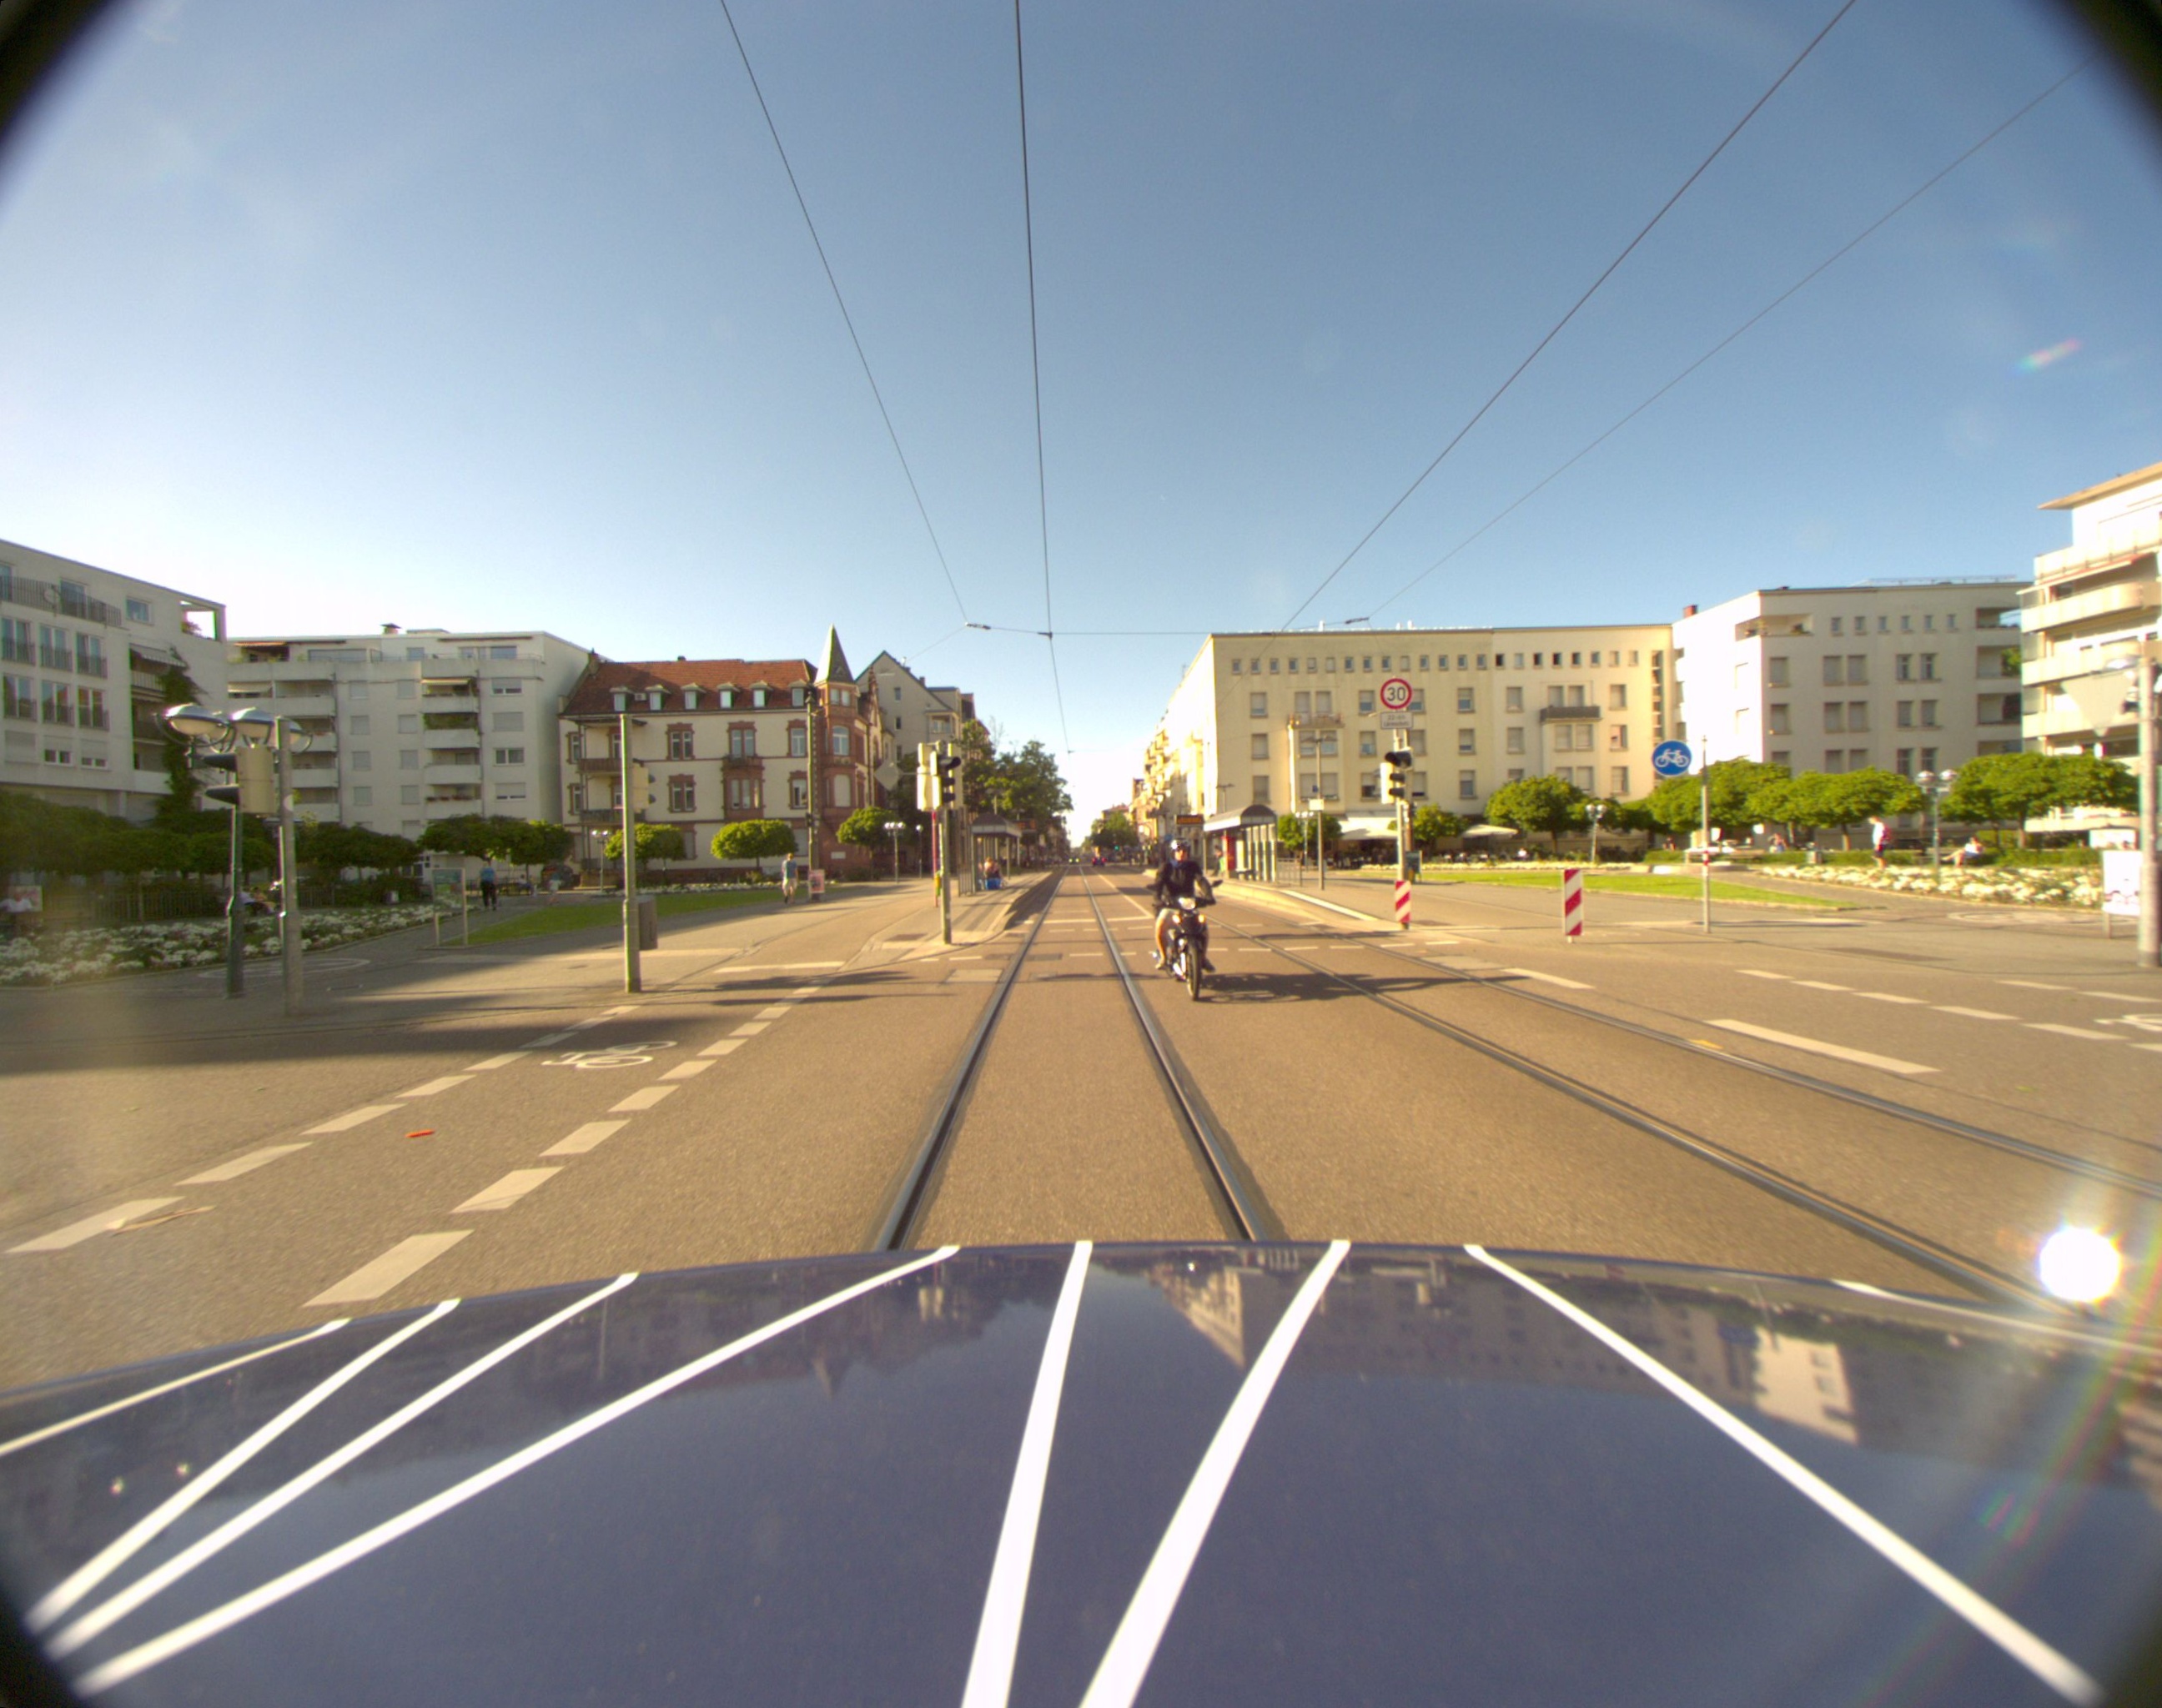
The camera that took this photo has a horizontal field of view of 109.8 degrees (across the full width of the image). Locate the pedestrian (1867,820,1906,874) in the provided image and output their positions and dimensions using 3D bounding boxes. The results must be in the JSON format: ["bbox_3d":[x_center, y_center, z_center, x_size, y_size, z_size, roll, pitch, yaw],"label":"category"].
[{"bbox_3d":[26.000,-0.219,24.529,0.669,1.686,0.837,-2,1,-42],"label":"pedestrian"}]

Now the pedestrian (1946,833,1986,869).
[{"bbox_3d":[35.240,-0.108,30.265,0.838,1.410,0.667,-2,1,-2],"label":"pedestrian"}]

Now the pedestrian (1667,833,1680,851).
[{"bbox_3d":[39.171,-0.788,50.246,0.506,1.215,0.395,-1,1,6],"label":"pedestrian"}]

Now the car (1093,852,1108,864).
[{"bbox_3d":[2.729,0.533,104.967,1.970,1.577,4.000,-2,0,2],"label":"car"}]

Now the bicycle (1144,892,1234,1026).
[{"bbox_3d":[1.125,1.070,8.271,0.767,1.191,1.752,-1,1,2],"label":"bicycle"}]

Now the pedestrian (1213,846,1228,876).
[{"bbox_3d":[7.062,0.348,38.499,0.551,1.482,0.610,-2,1,-7],"label":"pedestrian"}]

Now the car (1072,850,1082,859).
[{"bbox_3d":[-0.730,0.050,145.357,1.971,1.577,4.000,-2,0,0],"label":"car"}]

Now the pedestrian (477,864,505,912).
[{"bbox_3d":[-19.873,1.129,25.603,0.651,1.592,0.700,-2,1,-36],"label":"pedestrian"}]

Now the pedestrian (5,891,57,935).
[{"bbox_3d":[-31.897,1.770,23.096,0.561,1.266,0.700,-2,1,-11],"label":"pedestrian"}]

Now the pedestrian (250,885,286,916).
[{"bbox_3d":[-32.287,1.841,30.181,0.717,1.144,0.637,-2,1,-9],"label":"pedestrian"}]

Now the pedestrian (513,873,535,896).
[{"bbox_3d":[-32.472,1.761,44.313,0.710,1.285,0.679,-2,1,-2],"label":"pedestrian"}]

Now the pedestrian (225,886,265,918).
[{"bbox_3d":[-32.382,1.852,29.440,0.768,1.144,0.637,-2,1,-9],"label":"pedestrian"}]

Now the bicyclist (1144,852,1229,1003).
[{"bbox_3d":[1.124,0.751,8.263,0.774,1.531,0.939,-2,1,1],"label":"bicyclist"}]

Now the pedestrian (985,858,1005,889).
[{"bbox_3d":[-3.537,0.794,31.234,0.774,1.197,0.610,-2,1,-9],"label":"pedestrian"}]

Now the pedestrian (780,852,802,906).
[{"bbox_3d":[-10.858,0.925,28.449,0.650,1.944,0.583,-2,1,-17],"label":"pedestrian"}]

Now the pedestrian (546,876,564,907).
[{"bbox_3d":[-18.854,1.325,27.219,0.453,1.076,0.449,-2,1,-40],"label":"pedestrian"}]
